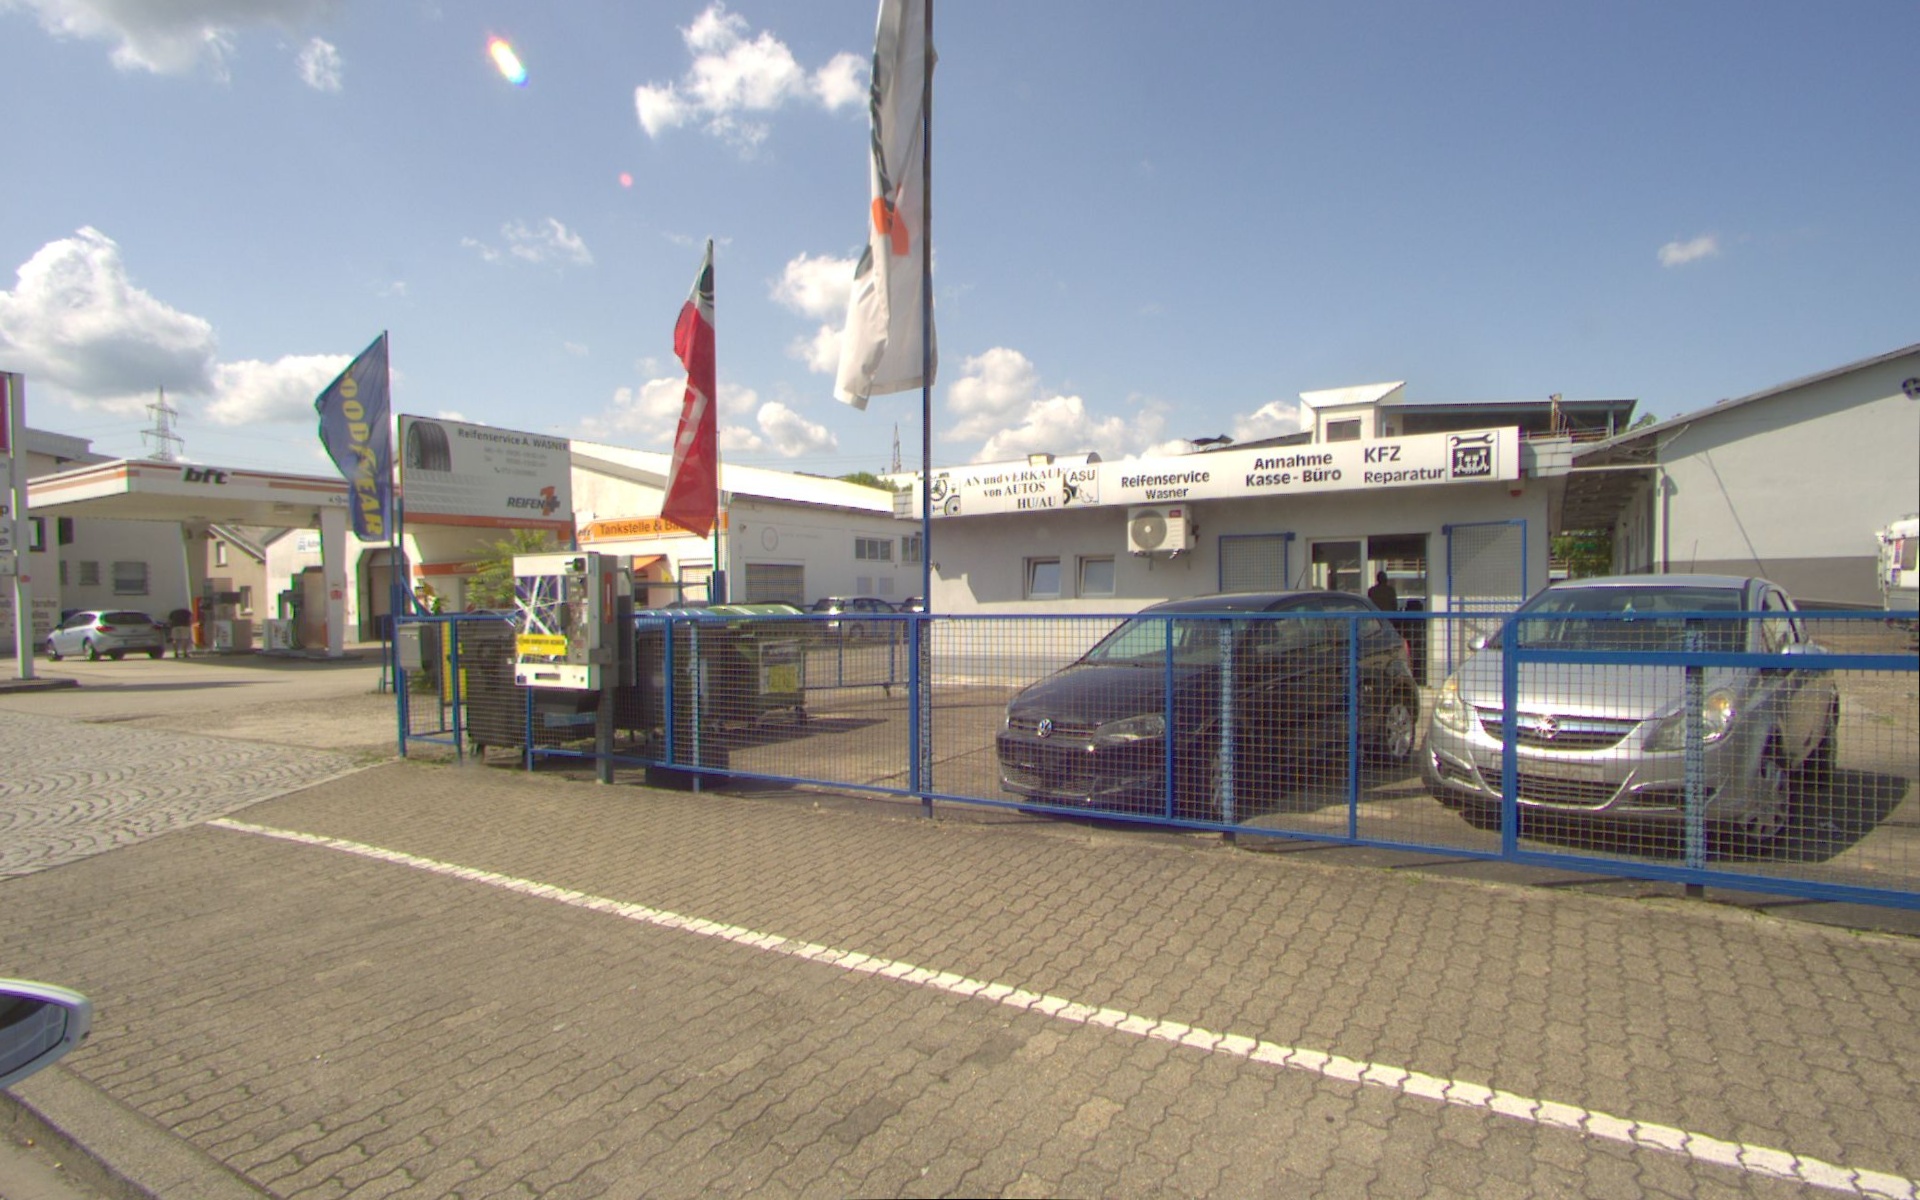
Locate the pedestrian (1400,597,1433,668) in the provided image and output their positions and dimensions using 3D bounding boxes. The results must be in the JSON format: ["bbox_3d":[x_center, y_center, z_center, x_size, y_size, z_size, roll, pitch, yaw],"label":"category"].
[{"bbox_3d":[7.983,0.561,17.523,0.480,1.229,0.499,0,1,30],"label":"pedestrian"}]

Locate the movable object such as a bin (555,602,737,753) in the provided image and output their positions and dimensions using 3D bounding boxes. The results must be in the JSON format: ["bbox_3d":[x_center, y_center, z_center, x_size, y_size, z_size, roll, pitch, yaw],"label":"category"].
[{"bbox_3d":[-3.367,0.773,10.783,1.434,1.473,1.224,0,1,31],"label":"movable object such as a bin"}]

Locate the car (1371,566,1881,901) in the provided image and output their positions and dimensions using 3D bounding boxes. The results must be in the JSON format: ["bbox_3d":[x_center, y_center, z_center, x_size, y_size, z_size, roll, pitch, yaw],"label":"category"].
[{"bbox_3d":[4.506,0.586,6.510,4.104,1.499,1.787,-1,0,-42],"label":"car"}]

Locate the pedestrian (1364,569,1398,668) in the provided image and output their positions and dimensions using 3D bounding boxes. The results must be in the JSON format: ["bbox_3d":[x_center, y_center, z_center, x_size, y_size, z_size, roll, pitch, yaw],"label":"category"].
[{"bbox_3d":[7.384,0.324,17.561,0.480,1.710,0.499,0,1,30],"label":"pedestrian"}]

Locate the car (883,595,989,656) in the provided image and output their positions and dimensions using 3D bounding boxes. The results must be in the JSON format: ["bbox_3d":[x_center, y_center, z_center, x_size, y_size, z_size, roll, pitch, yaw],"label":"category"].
[{"bbox_3d":[-0.801,0.862,35.875,1.971,2.040,3.979,0,0,32],"label":"car"}]

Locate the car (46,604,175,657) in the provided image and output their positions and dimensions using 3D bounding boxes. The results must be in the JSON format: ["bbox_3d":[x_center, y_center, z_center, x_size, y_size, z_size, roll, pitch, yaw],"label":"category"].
[{"bbox_3d":[-25.830,0.887,30.432,3.950,1.499,1.829,-1,1,31],"label":"car"}]

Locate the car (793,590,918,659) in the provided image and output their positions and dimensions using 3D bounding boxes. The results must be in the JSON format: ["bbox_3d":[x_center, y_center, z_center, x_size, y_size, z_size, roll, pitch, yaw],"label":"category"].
[{"bbox_3d":[-3.261,0.727,31.985,1.971,2.040,3.979,0,0,32],"label":"car"}]

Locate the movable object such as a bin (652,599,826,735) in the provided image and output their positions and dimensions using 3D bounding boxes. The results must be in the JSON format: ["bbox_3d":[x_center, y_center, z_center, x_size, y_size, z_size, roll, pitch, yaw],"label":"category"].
[{"bbox_3d":[-2.602,0.741,11.898,1.433,1.473,1.427,0,1,31],"label":"movable object such as a bin"}]

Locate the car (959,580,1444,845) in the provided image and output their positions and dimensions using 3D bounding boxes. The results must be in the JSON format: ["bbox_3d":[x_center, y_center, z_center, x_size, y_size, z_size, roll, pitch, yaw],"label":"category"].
[{"bbox_3d":[2.019,0.625,7.646,3.962,1.499,1.705,-1,1,-43],"label":"car"}]

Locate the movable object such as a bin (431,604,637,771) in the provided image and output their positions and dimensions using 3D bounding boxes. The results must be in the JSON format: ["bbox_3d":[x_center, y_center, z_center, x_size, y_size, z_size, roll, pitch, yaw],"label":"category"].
[{"bbox_3d":[-4.128,0.782,9.743,1.434,1.473,1.224,0,1,31],"label":"movable object such as a bin"}]

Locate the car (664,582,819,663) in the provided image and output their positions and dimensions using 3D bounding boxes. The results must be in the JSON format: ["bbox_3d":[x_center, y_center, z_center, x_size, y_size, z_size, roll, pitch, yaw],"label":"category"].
[{"bbox_3d":[-5.944,0.570,27.634,1.971,2.040,3.979,0,0,32],"label":"car"}]

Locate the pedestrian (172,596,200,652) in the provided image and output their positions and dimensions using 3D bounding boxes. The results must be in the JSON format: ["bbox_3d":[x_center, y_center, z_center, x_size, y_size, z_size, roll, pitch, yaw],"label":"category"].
[{"bbox_3d":[-23.736,0.727,30.713,0.628,1.705,0.618,-1,1,-36],"label":"pedestrian"}]

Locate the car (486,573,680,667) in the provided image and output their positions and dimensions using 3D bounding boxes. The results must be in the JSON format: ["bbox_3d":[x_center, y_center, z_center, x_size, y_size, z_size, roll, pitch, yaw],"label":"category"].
[{"bbox_3d":[-8.909,0.434,23.980,1.971,2.040,3.979,0,0,32],"label":"car"}]

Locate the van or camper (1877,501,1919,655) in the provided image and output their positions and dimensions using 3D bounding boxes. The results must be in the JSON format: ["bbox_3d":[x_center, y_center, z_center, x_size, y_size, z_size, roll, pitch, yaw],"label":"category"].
[{"bbox_3d":[21.351,-0.459,19.319,4.983,3.002,2.276,0,1,31],"label":"van or camper"}]
